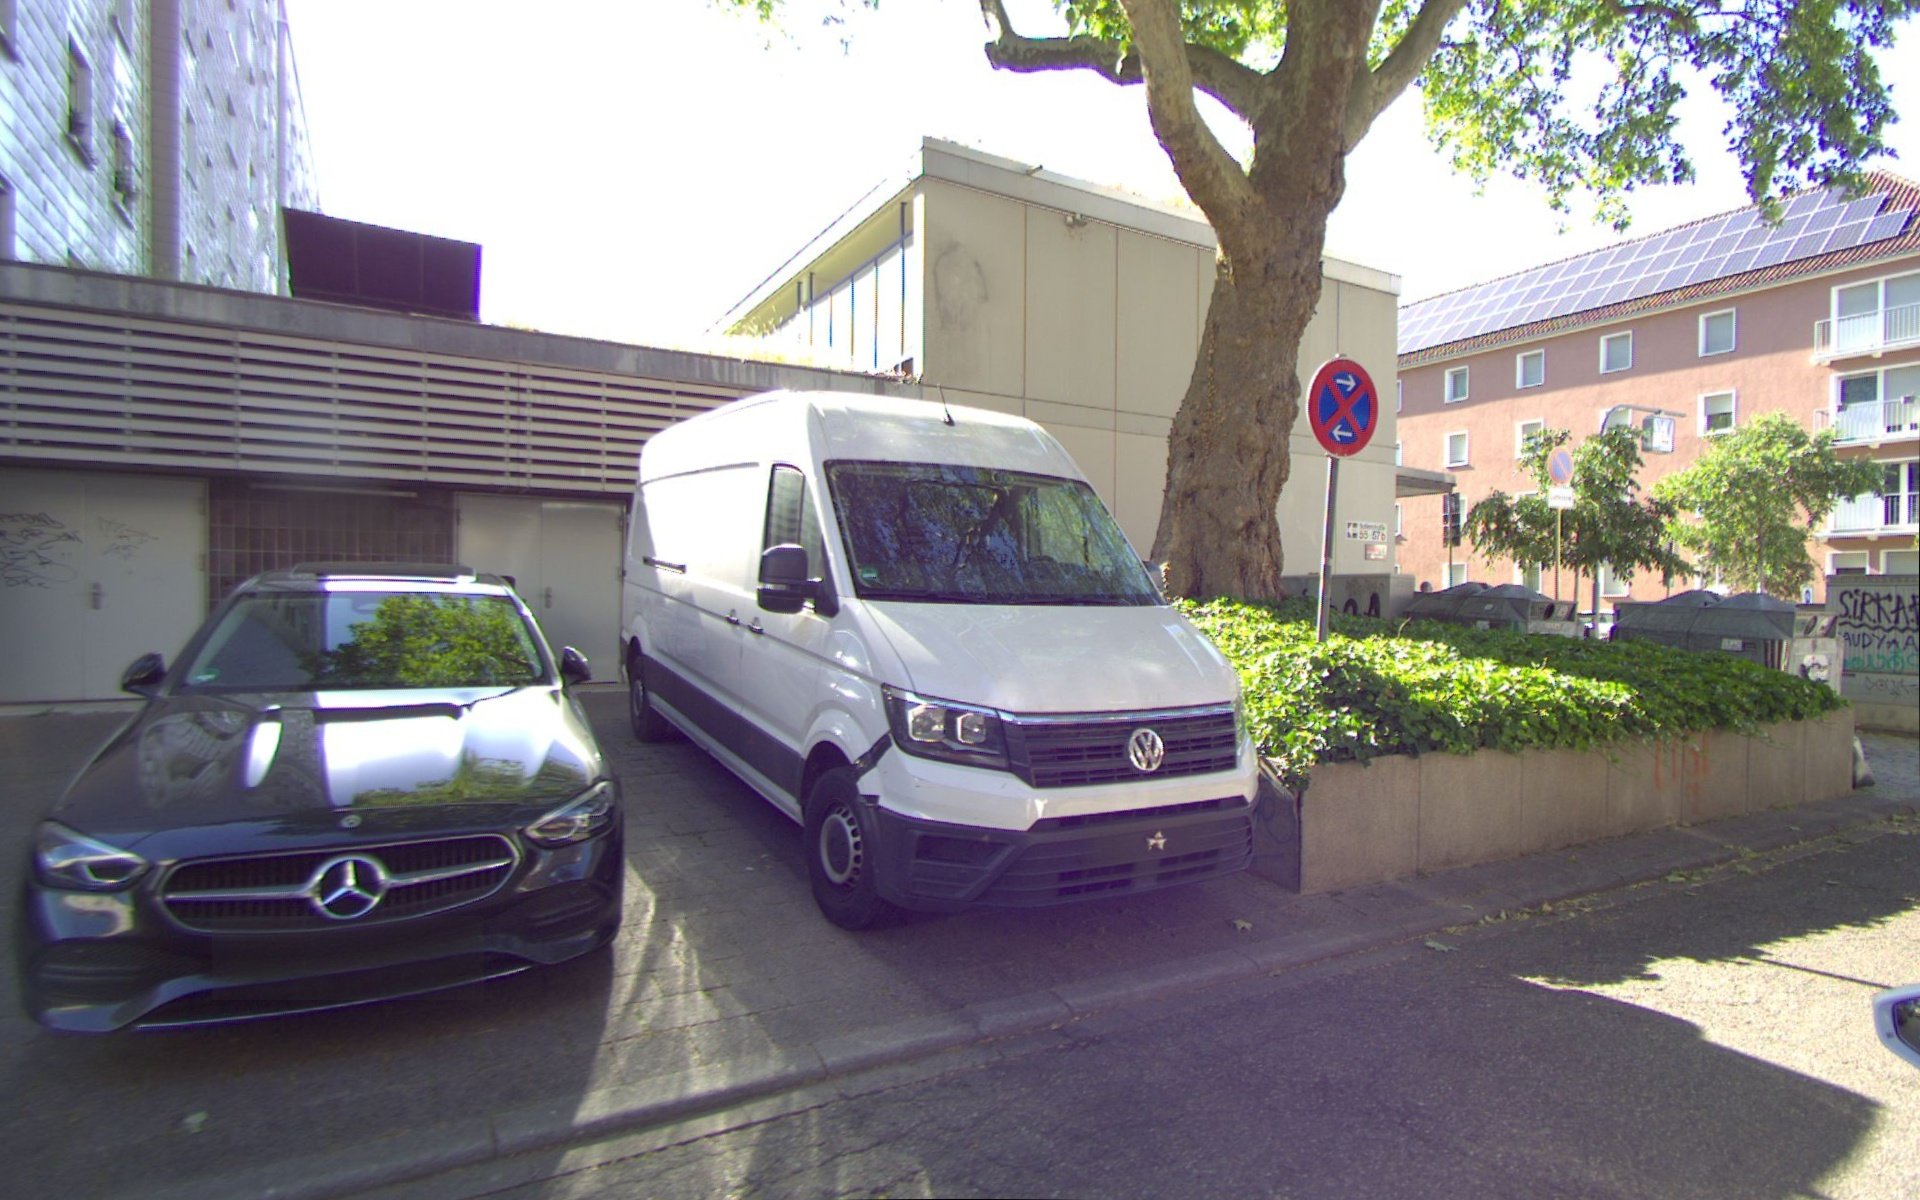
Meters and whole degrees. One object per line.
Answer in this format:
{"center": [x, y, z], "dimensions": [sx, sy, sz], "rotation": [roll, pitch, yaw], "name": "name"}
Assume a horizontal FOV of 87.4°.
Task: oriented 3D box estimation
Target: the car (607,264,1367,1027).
{"center": [-0.766, 0.018, 6.878], "dimensions": [2.119, 2.589, 6.711], "rotation": [1, 2, -28], "name": "car"}

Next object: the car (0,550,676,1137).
{"center": [-2.881, 0.564, 4.981], "dimensions": [1.905, 1.490, 4.480], "rotation": [1, 3, -28], "name": "car"}
